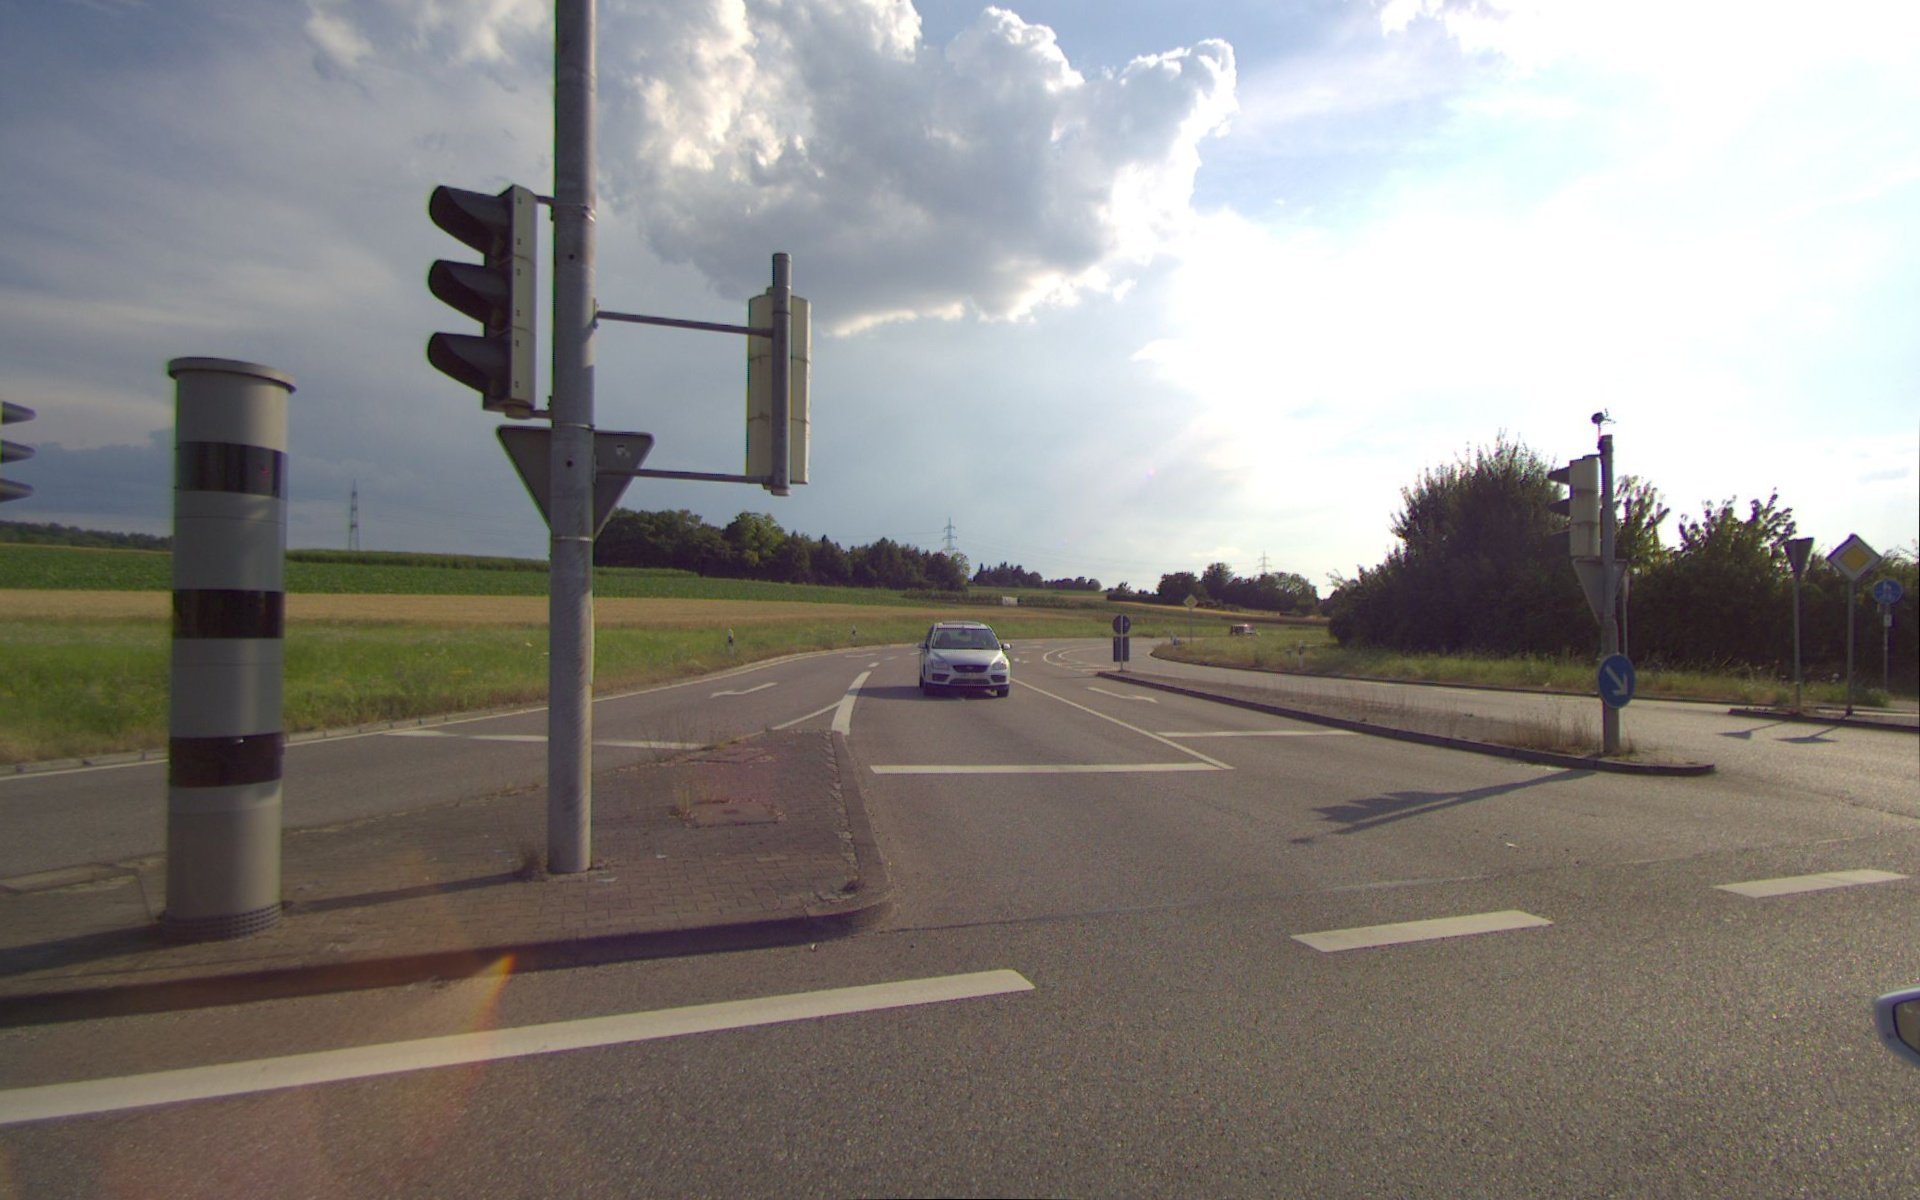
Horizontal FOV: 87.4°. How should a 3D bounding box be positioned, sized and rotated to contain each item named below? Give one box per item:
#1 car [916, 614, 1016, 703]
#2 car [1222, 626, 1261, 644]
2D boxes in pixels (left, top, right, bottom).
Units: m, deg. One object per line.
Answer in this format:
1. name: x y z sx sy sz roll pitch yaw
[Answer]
1. car: 0.032 1.184 21.872 1.786 1.549 4.350 2 1 -4
2. car: 24.067 2.991 85.766 1.702 1.520 3.838 1 -1 40
